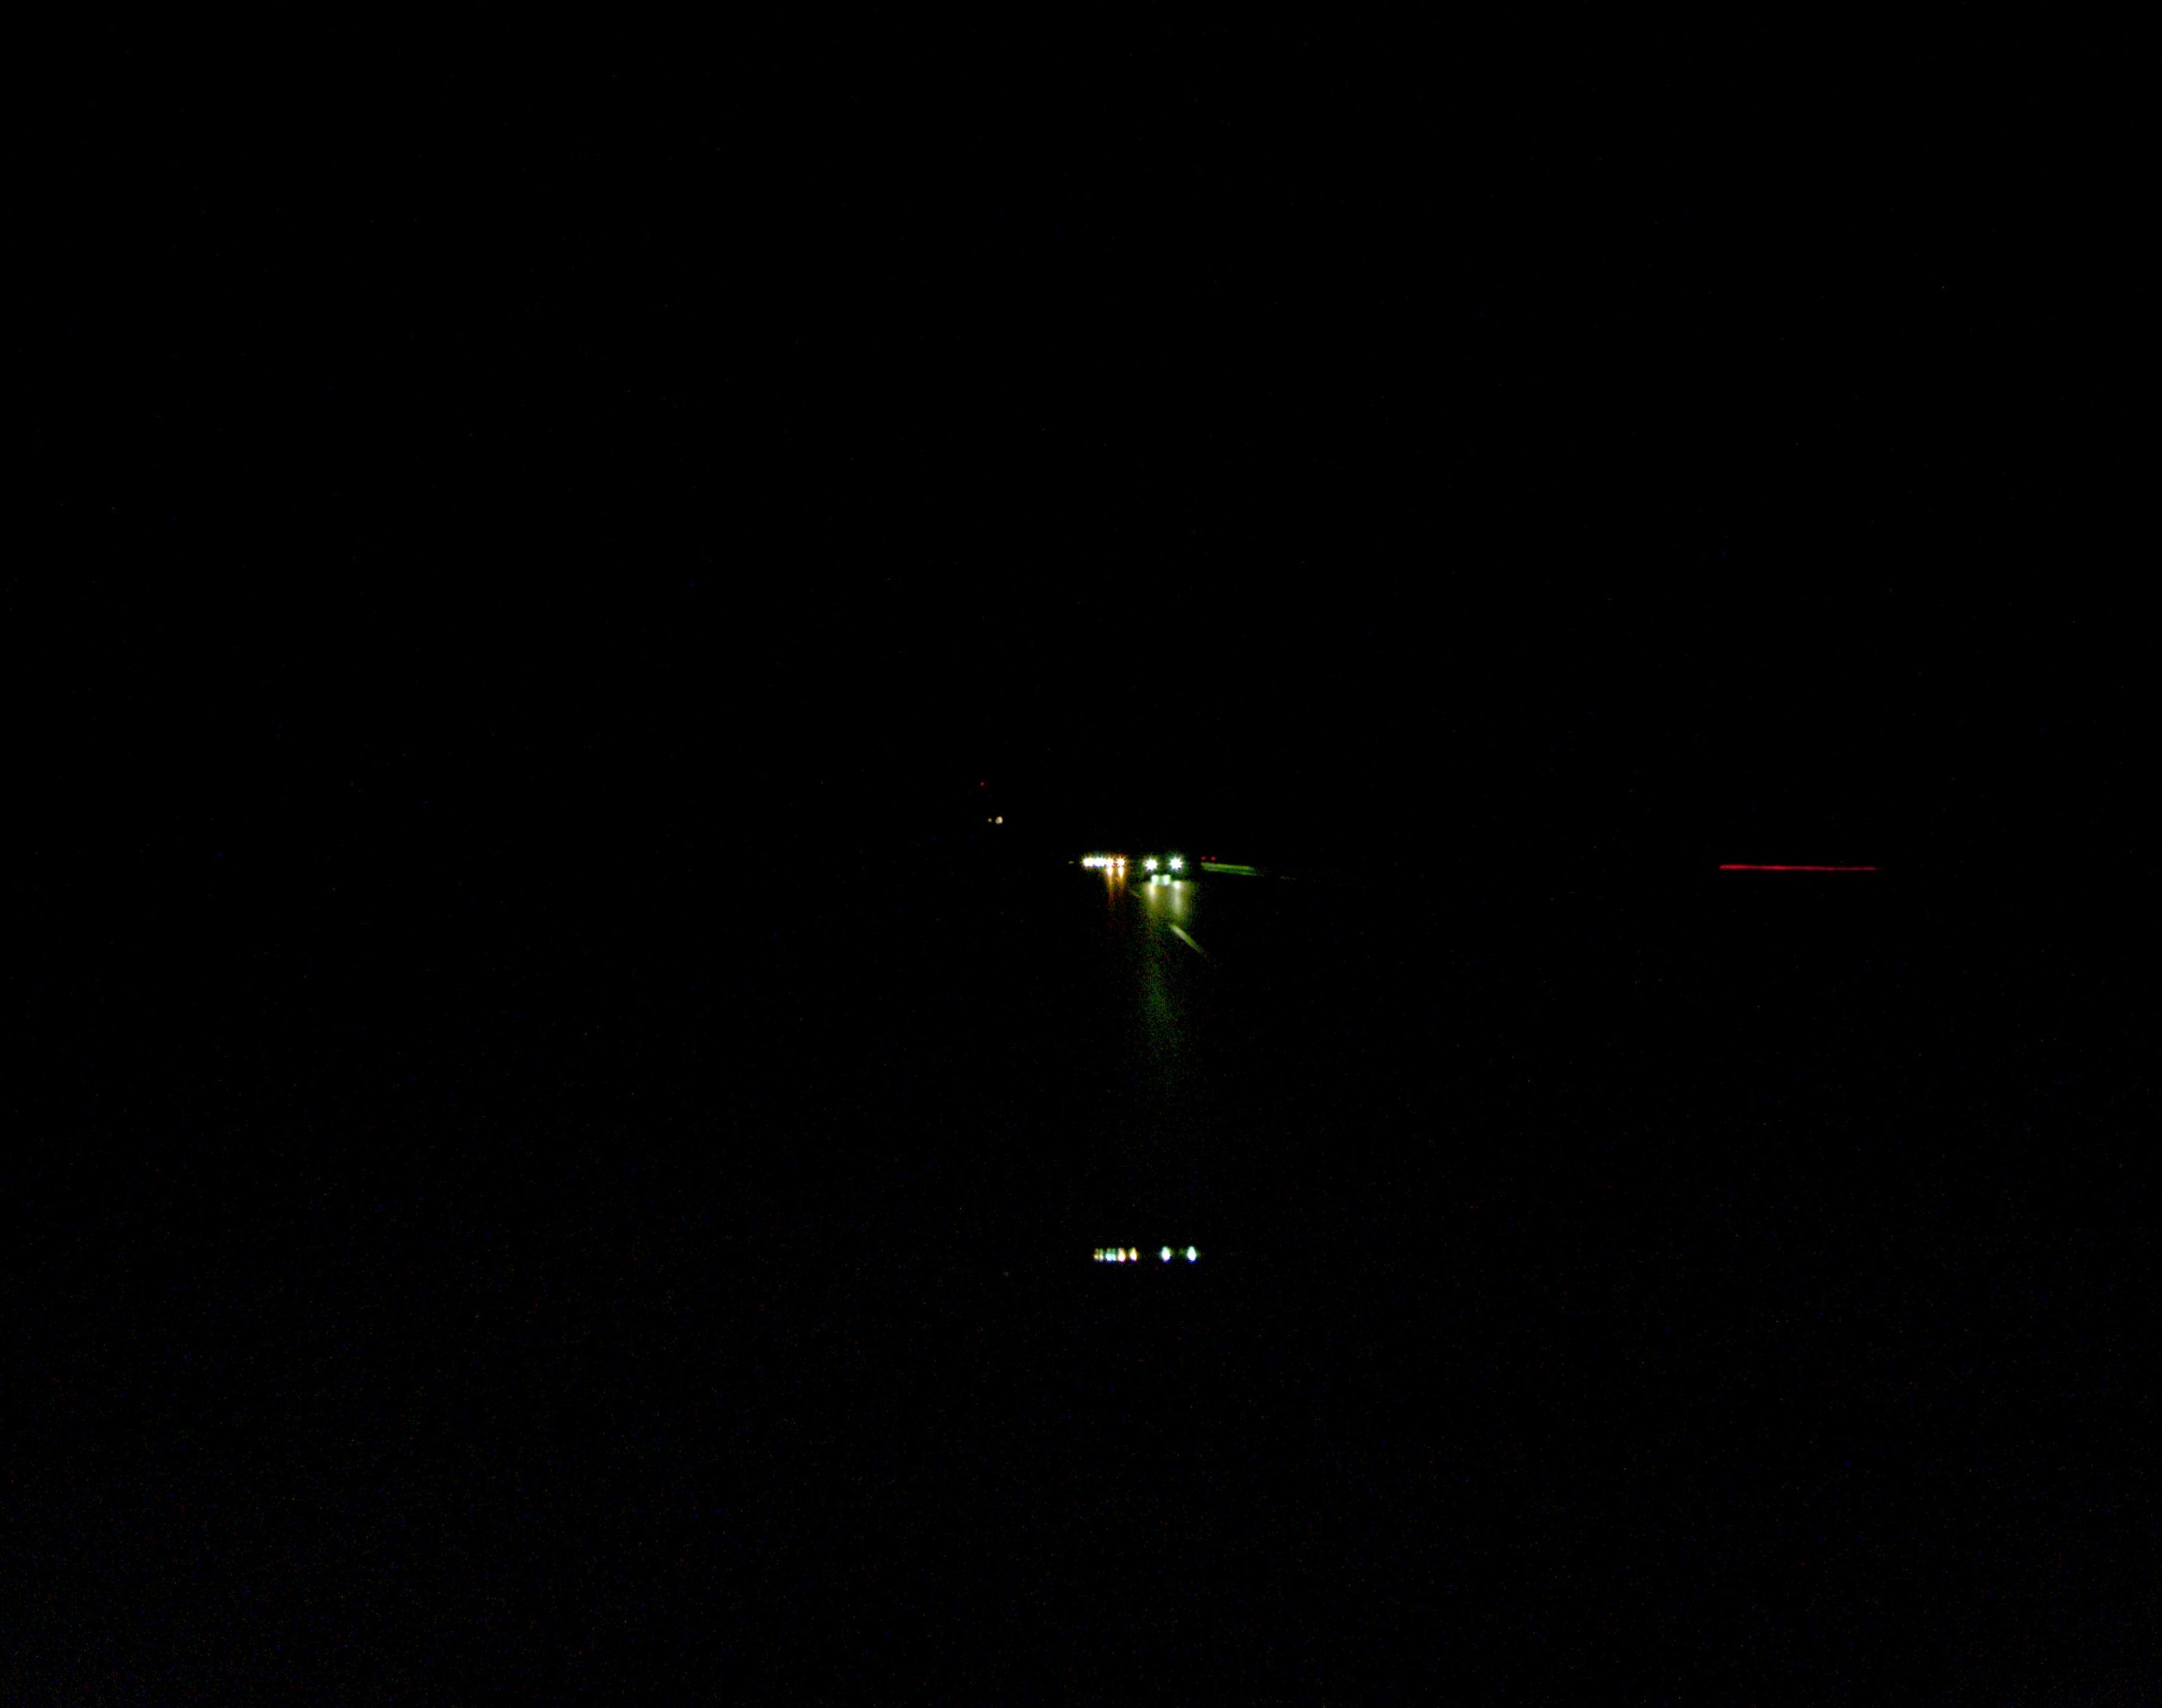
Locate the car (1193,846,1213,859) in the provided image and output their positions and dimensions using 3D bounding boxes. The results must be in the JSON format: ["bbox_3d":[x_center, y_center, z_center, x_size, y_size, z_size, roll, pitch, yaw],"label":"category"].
[{"bbox_3d":[20.028,-0.292,125.066,2.339,2.002,5.742,-2,0,1],"label":"car"}]

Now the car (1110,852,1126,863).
[{"bbox_3d":[5.133,0.462,105.680,1.998,1.423,4.329,-2,1,2],"label":"car"}]

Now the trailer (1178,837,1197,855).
[{"bbox_3d":[25.632,-1.900,183.346,3.063,4.209,13.040,-2,0,1],"label":"trailer"}]

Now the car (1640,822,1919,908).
[{"bbox_3d":[16.010,0.215,17.895,2.202,1.672,4.763,-2,0,1],"label":"car"}]

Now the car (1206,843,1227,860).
[{"bbox_3d":[25.439,-0.499,143.139,2.499,3.011,7.139,-2,0,0],"label":"car"}]

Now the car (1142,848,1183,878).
[{"bbox_3d":[4.999,0.522,47.464,1.998,1.711,5.942,-2,0,1],"label":"car"}]
